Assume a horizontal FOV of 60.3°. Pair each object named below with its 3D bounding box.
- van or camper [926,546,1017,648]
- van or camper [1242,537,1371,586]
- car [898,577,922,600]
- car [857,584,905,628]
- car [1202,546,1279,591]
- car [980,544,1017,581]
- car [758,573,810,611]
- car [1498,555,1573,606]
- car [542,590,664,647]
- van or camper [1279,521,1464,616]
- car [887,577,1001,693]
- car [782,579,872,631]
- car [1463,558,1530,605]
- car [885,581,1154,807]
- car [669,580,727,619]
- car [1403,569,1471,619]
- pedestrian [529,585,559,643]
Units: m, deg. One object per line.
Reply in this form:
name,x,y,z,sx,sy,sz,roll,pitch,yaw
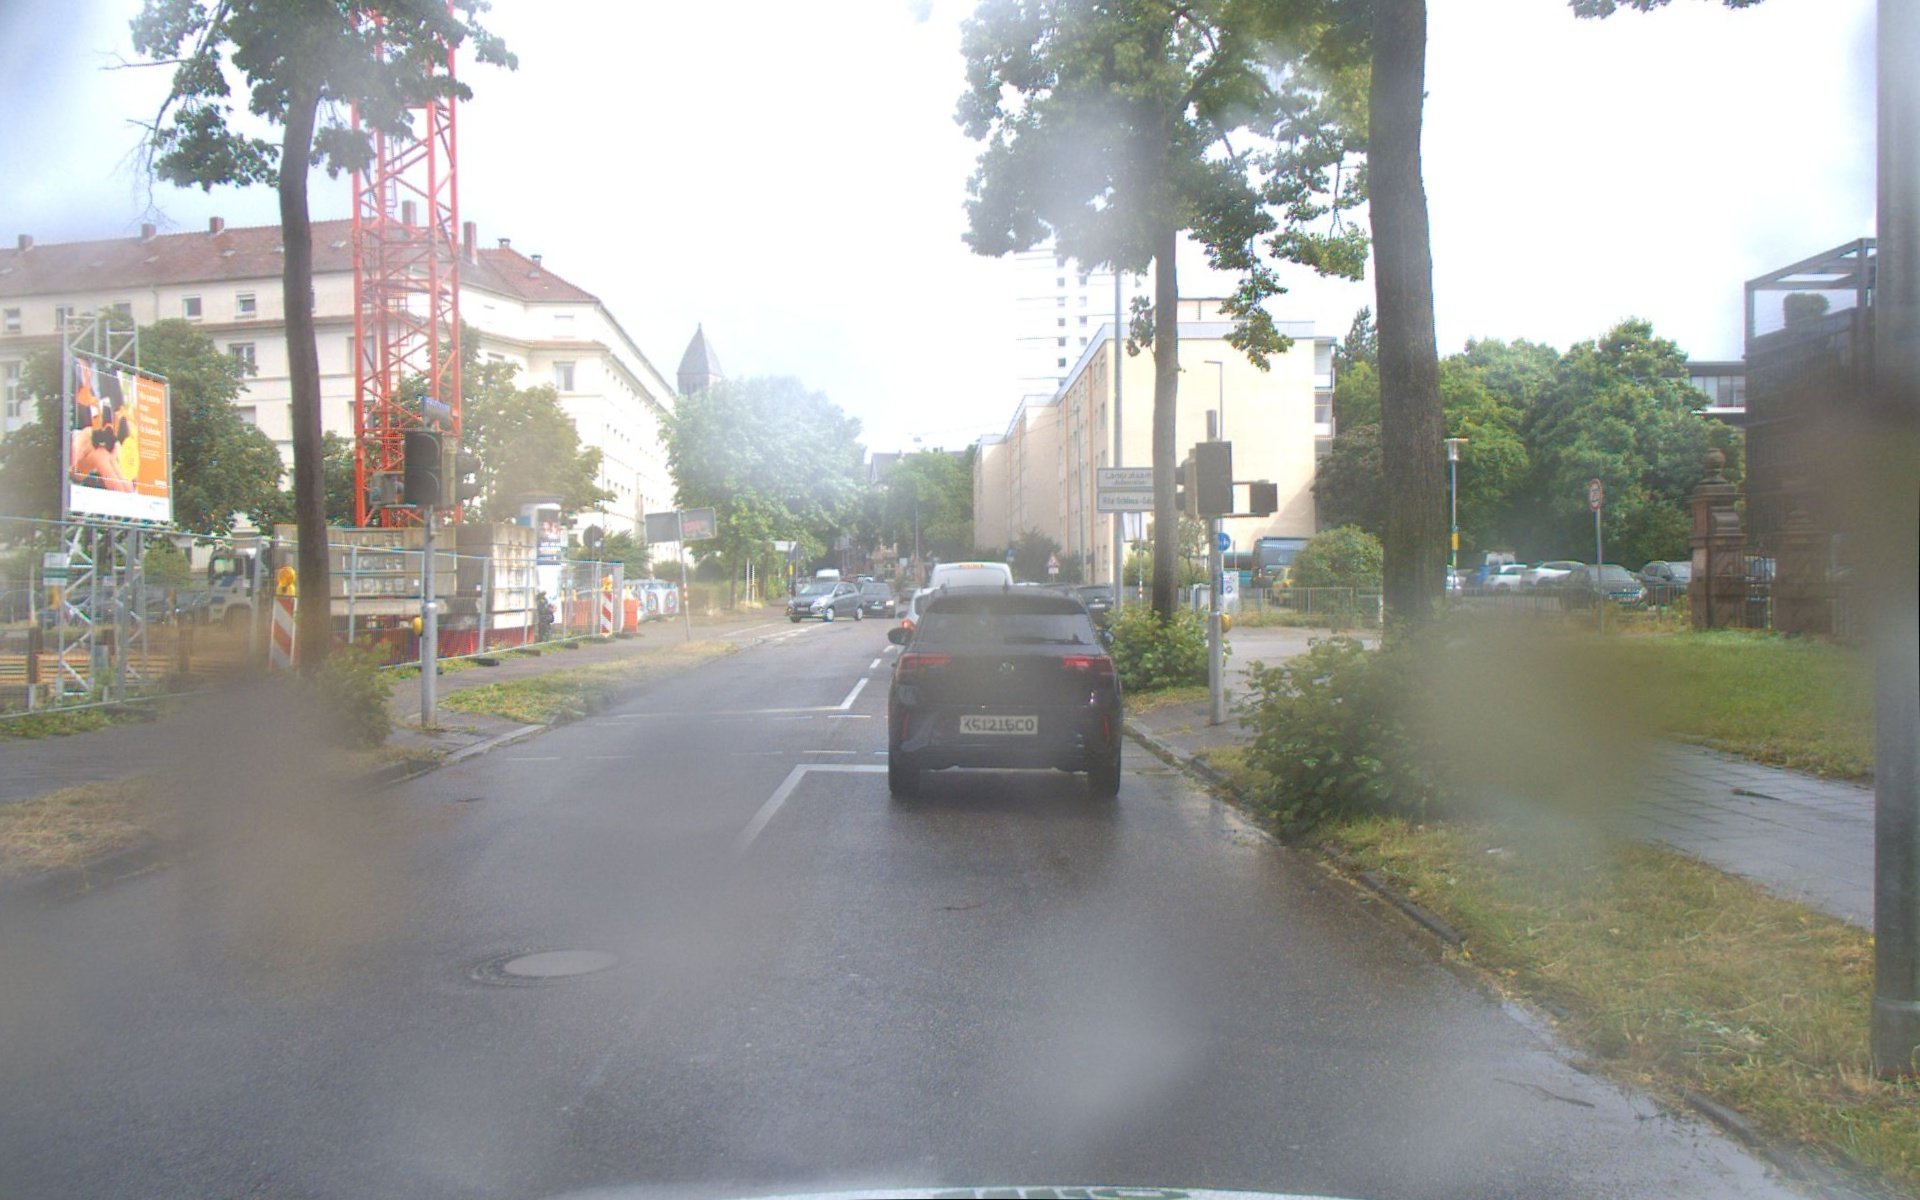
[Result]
van or camper,0.255,-0.089,34.461,1.782,1.981,4.195,0,1,1
van or camper,13.924,-1.556,66.707,4.775,1.959,2.131,0,1,0
car,-3.531,-0.814,116.424,1.559,1.538,3.730,-4,1,-2
car,-3.328,0.222,70.268,1.752,1.713,4.136,-4,1,0
car,12.933,-1.452,76.434,3.335,1.812,1.761,-4,0,8
car,2.189,-2.107,94.696,1.953,2.049,3.999,0,0,-1
car,-7.931,-0.393,74.680,1.557,1.538,3.734,-4,1,5
car,25.302,-0.841,72.830,1.952,2.048,4.002,-4,0,3
car,-12.369,0.638,57.206,3.866,1.679,1.749,-4,0,-20
van or camper,12.265,-0.934,49.494,4.931,2.641,2.167,-1,0,-2
car,-0.206,0.546,27.997,1.645,1.738,3.911,-3,0,2
car,-4.952,0.153,62.393,1.751,1.713,4.489,-4,1,17
car,25.362,-0.874,78.350,1.952,2.048,4.002,-4,0,3
car,0.414,0.629,13.435,1.856,1.549,4.000,0,1,0
car,-11.432,-0.029,72.436,1.557,1.538,3.734,-4,1,5
car,18.011,-0.252,62.587,1.706,1.713,3.873,-4,0,5
pedestrian,-11.142,0.368,44.278,0.652,1.511,0.667,-1,1,-25
